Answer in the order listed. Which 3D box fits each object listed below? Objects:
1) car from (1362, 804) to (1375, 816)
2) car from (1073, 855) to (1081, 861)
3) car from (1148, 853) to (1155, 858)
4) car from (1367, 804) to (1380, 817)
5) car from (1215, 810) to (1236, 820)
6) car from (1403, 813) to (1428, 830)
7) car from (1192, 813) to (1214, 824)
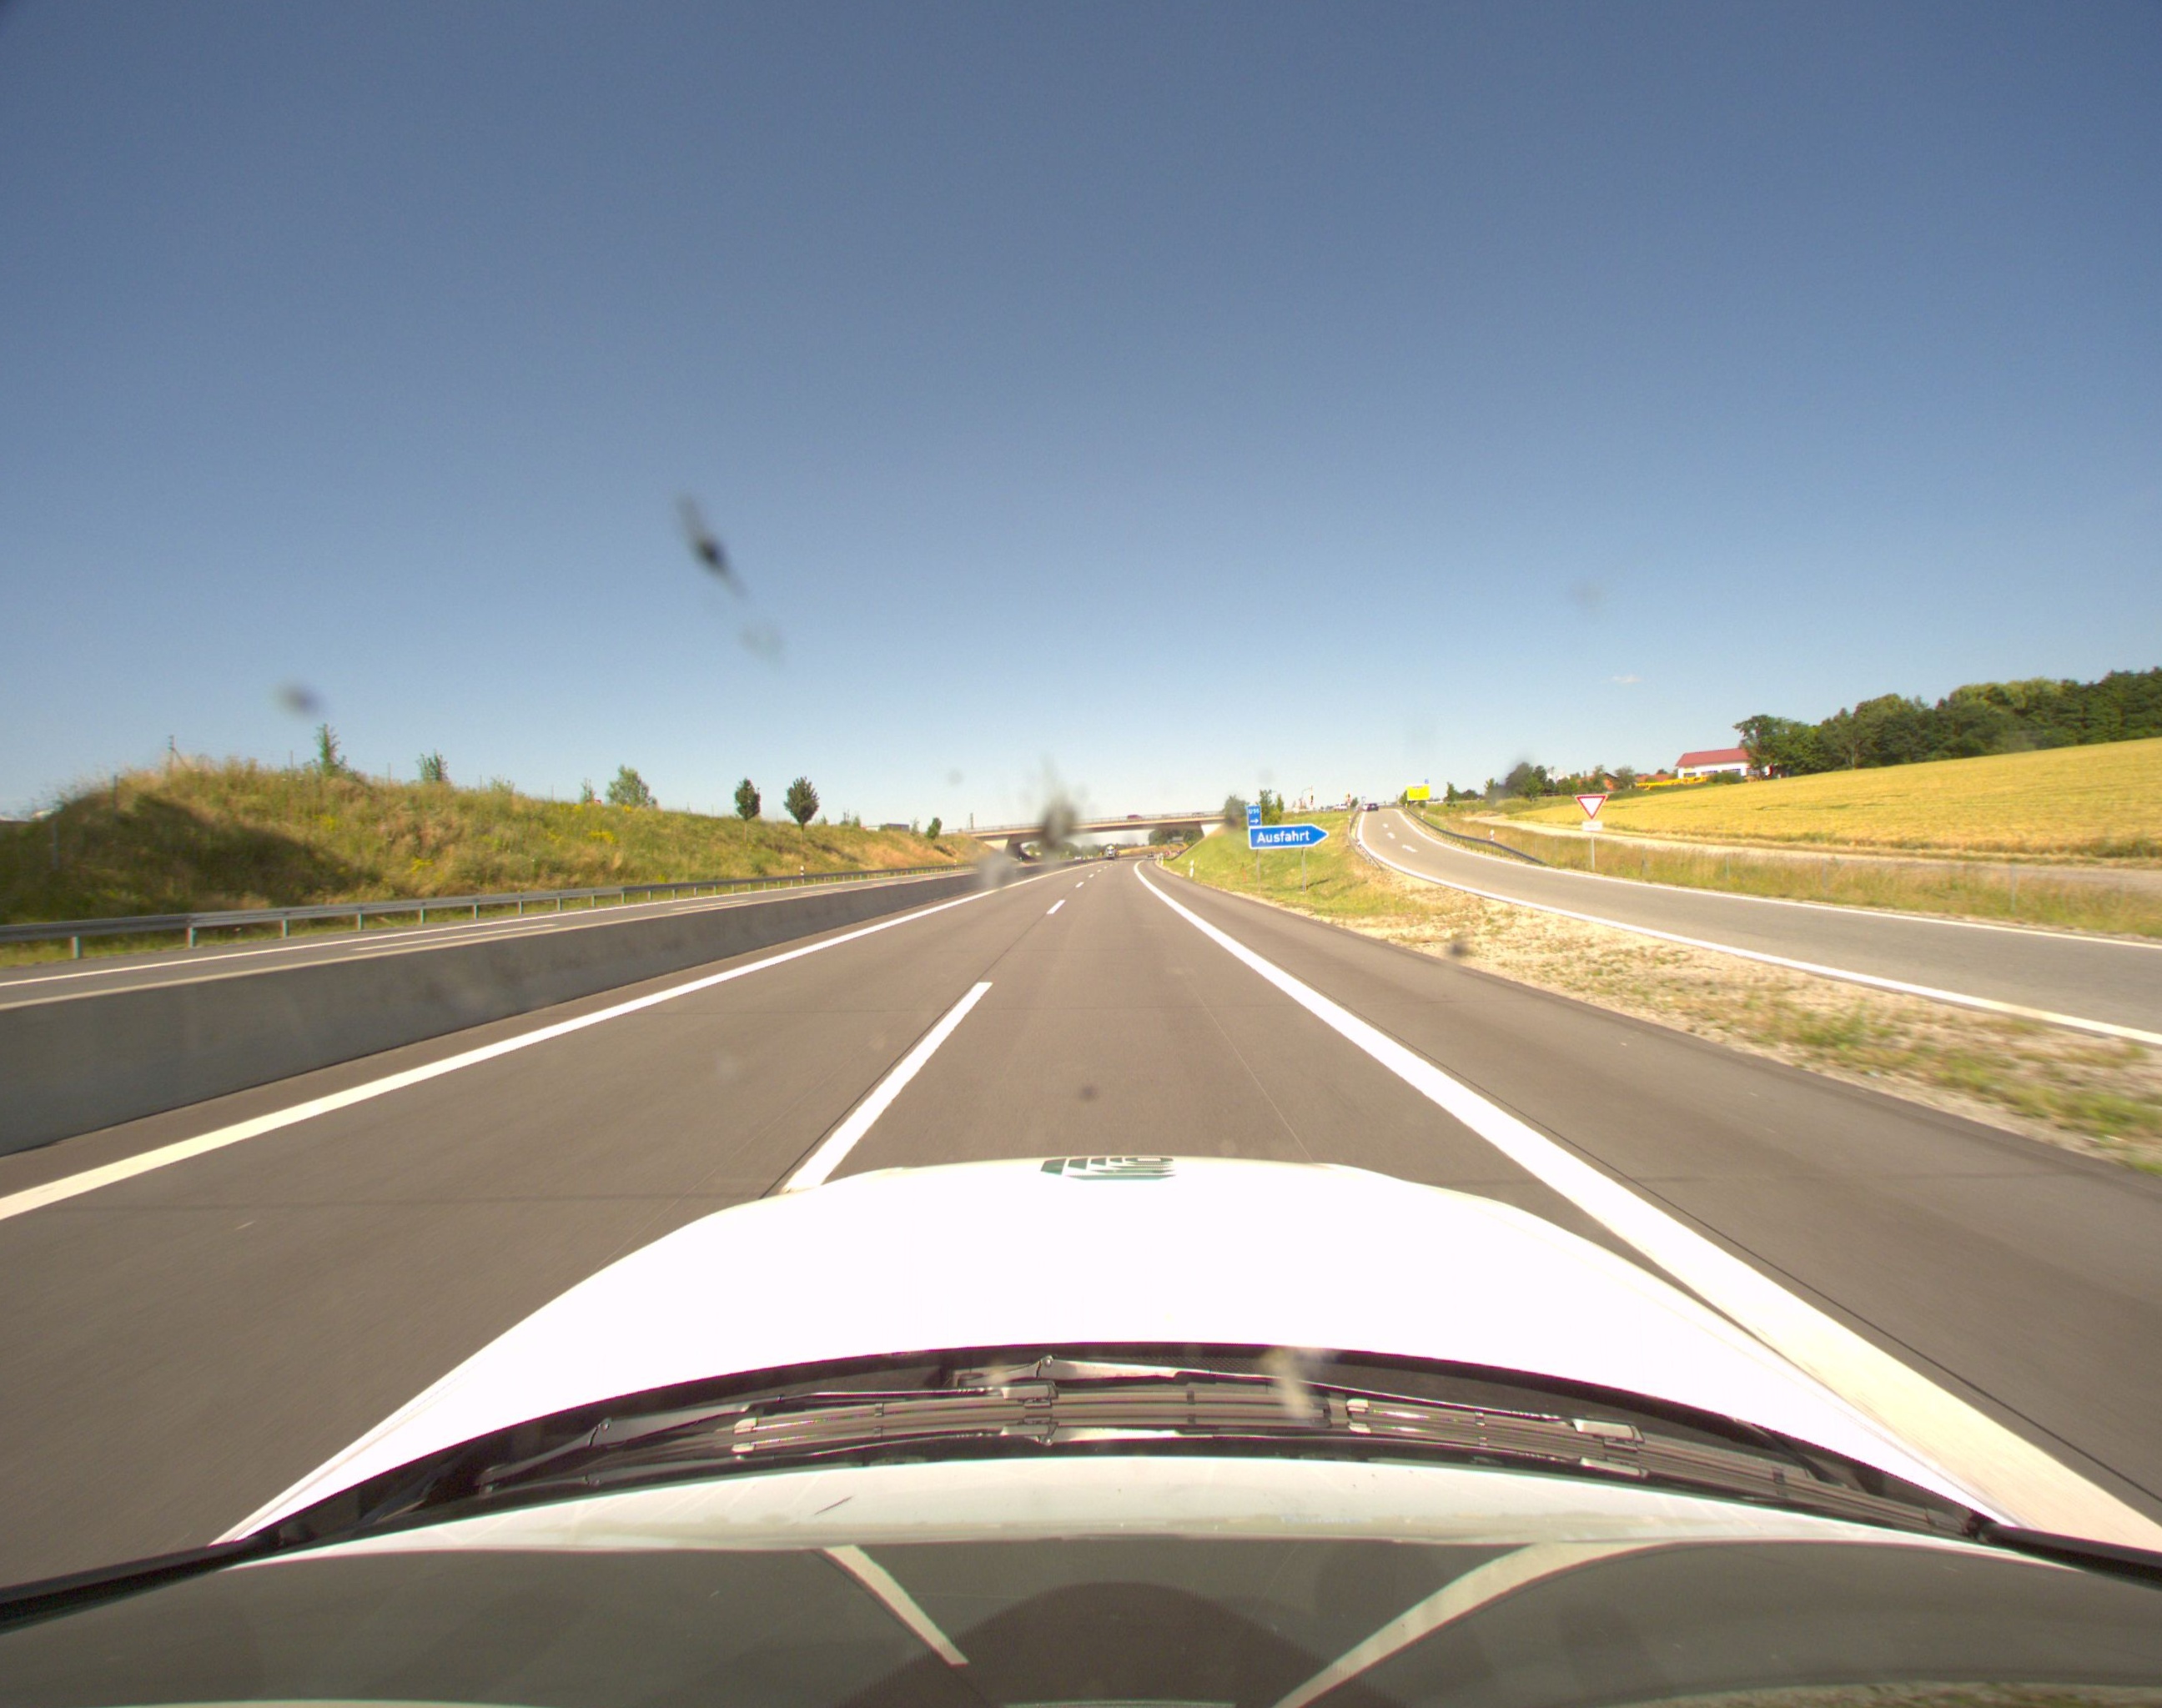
[{"bbox_3d":[54.281,-8.262,153.761,1.978,2.013,4.018,-3,0,17],"label":"car"},{"bbox_3d":[-1.154,1.132,225.735,1.857,1.531,4.565,-3,0,-2],"label":"car"},{"bbox_3d":[21.508,0.462,248.149,1.986,1.420,4.001,-3,0,2],"label":"car"},{"bbox_3d":[52.497,-7.758,146.192,1.978,2.013,4.018,-3,0,17],"label":"car"},{"bbox_3d":[32.077,-8.545,180.513,4.118,1.881,1.996,-3,0,-7],"label":"car"},{"bbox_3d":[34.911,-3.387,85.197,1.978,1.618,4.018,-4,0,17],"label":"car"},{"bbox_3d":[26.996,-7.800,179.948,4.243,2.021,1.996,-3,0,-6],"label":"car"}]
